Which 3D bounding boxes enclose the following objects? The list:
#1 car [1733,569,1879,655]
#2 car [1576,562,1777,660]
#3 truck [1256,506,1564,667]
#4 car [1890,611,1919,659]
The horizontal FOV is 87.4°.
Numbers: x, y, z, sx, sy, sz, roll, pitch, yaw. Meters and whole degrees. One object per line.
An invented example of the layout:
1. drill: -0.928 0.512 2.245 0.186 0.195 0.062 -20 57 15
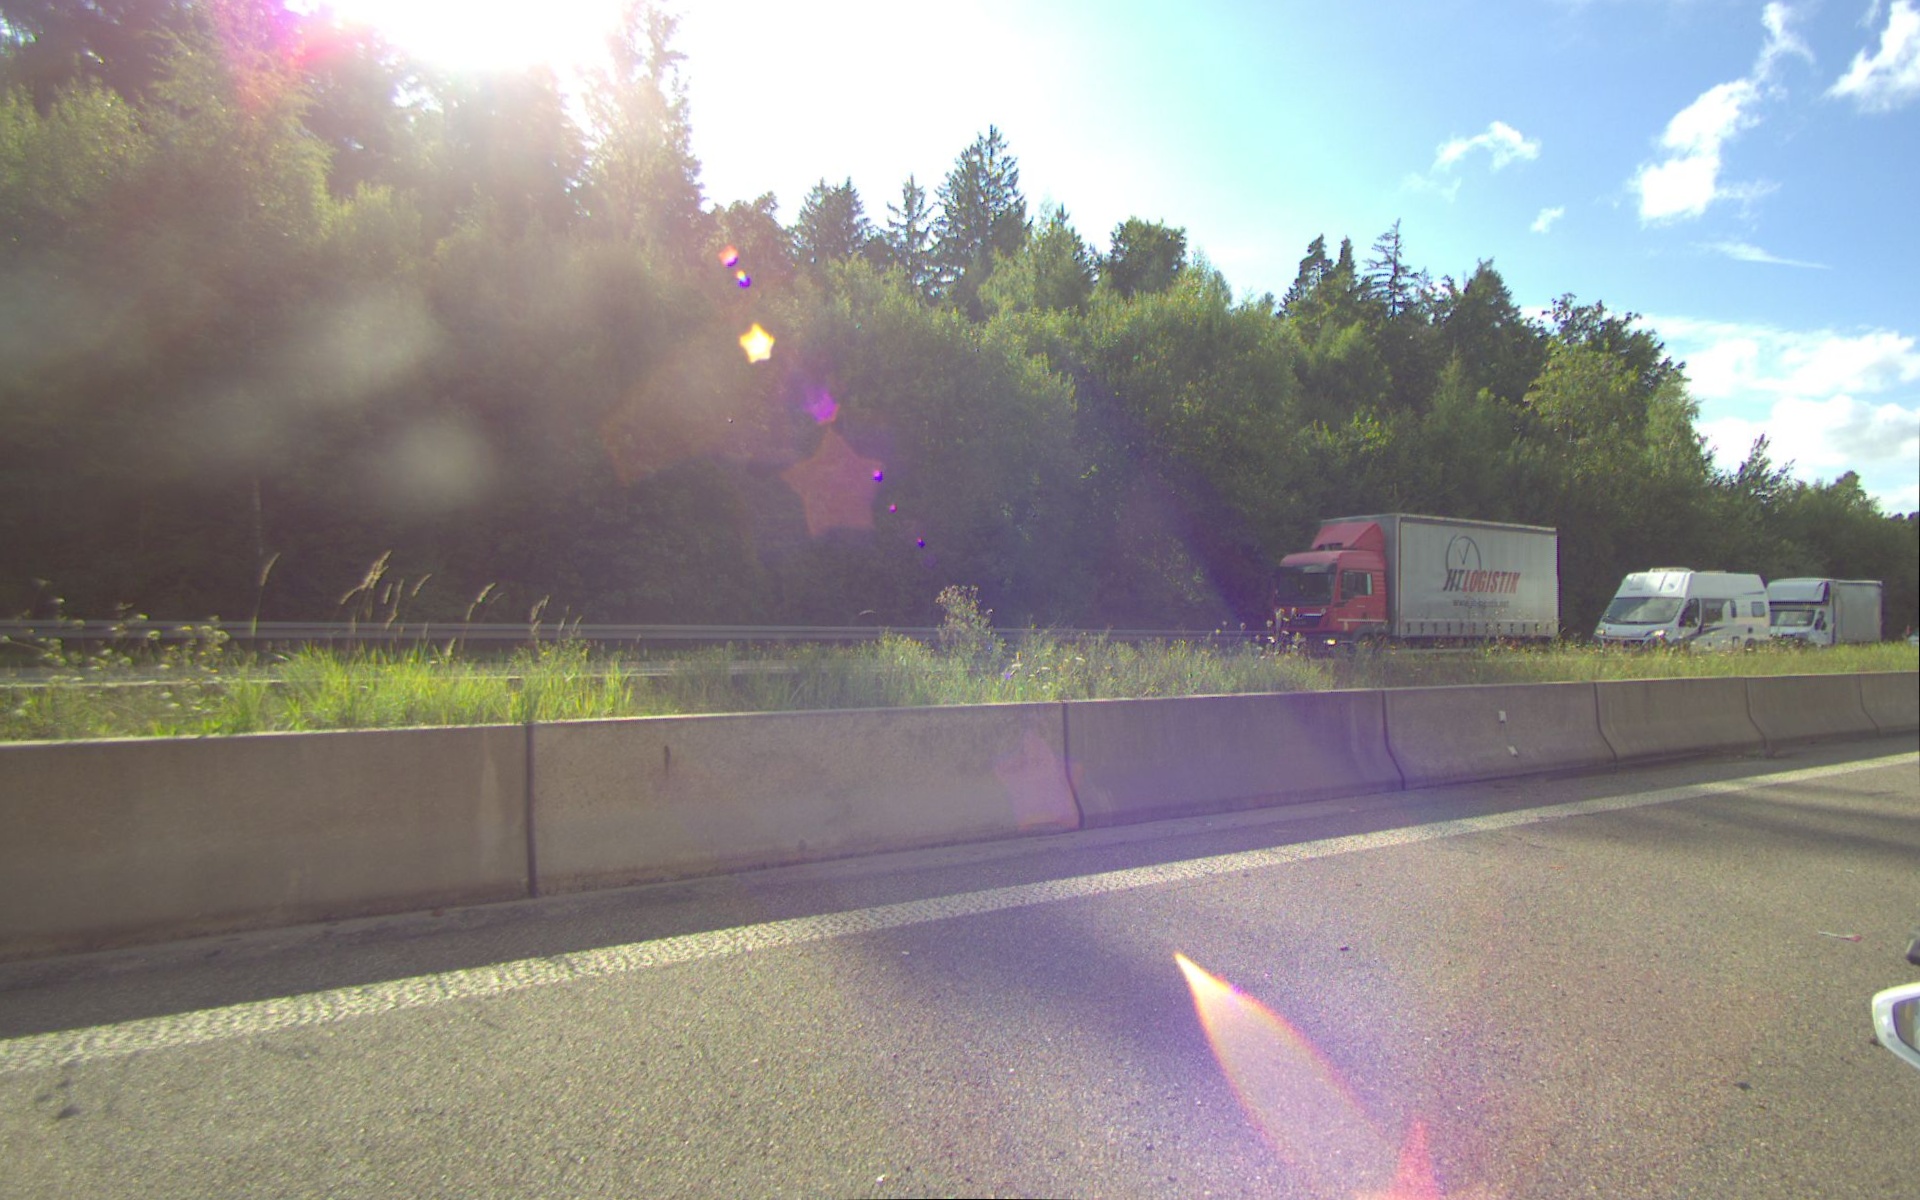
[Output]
1. car: 36.070 0.555 42.744 7.367 3.415 2.474 2 0 -31
2. car: 19.988 0.353 27.916 6.257 2.484 2.150 2 0 -30
3. truck: 13.221 -0.240 29.026 10.066 4.045 2.787 1 0 -31
4. car: 38.993 1.410 39.853 4.071 1.837 1.935 2 0 -30
